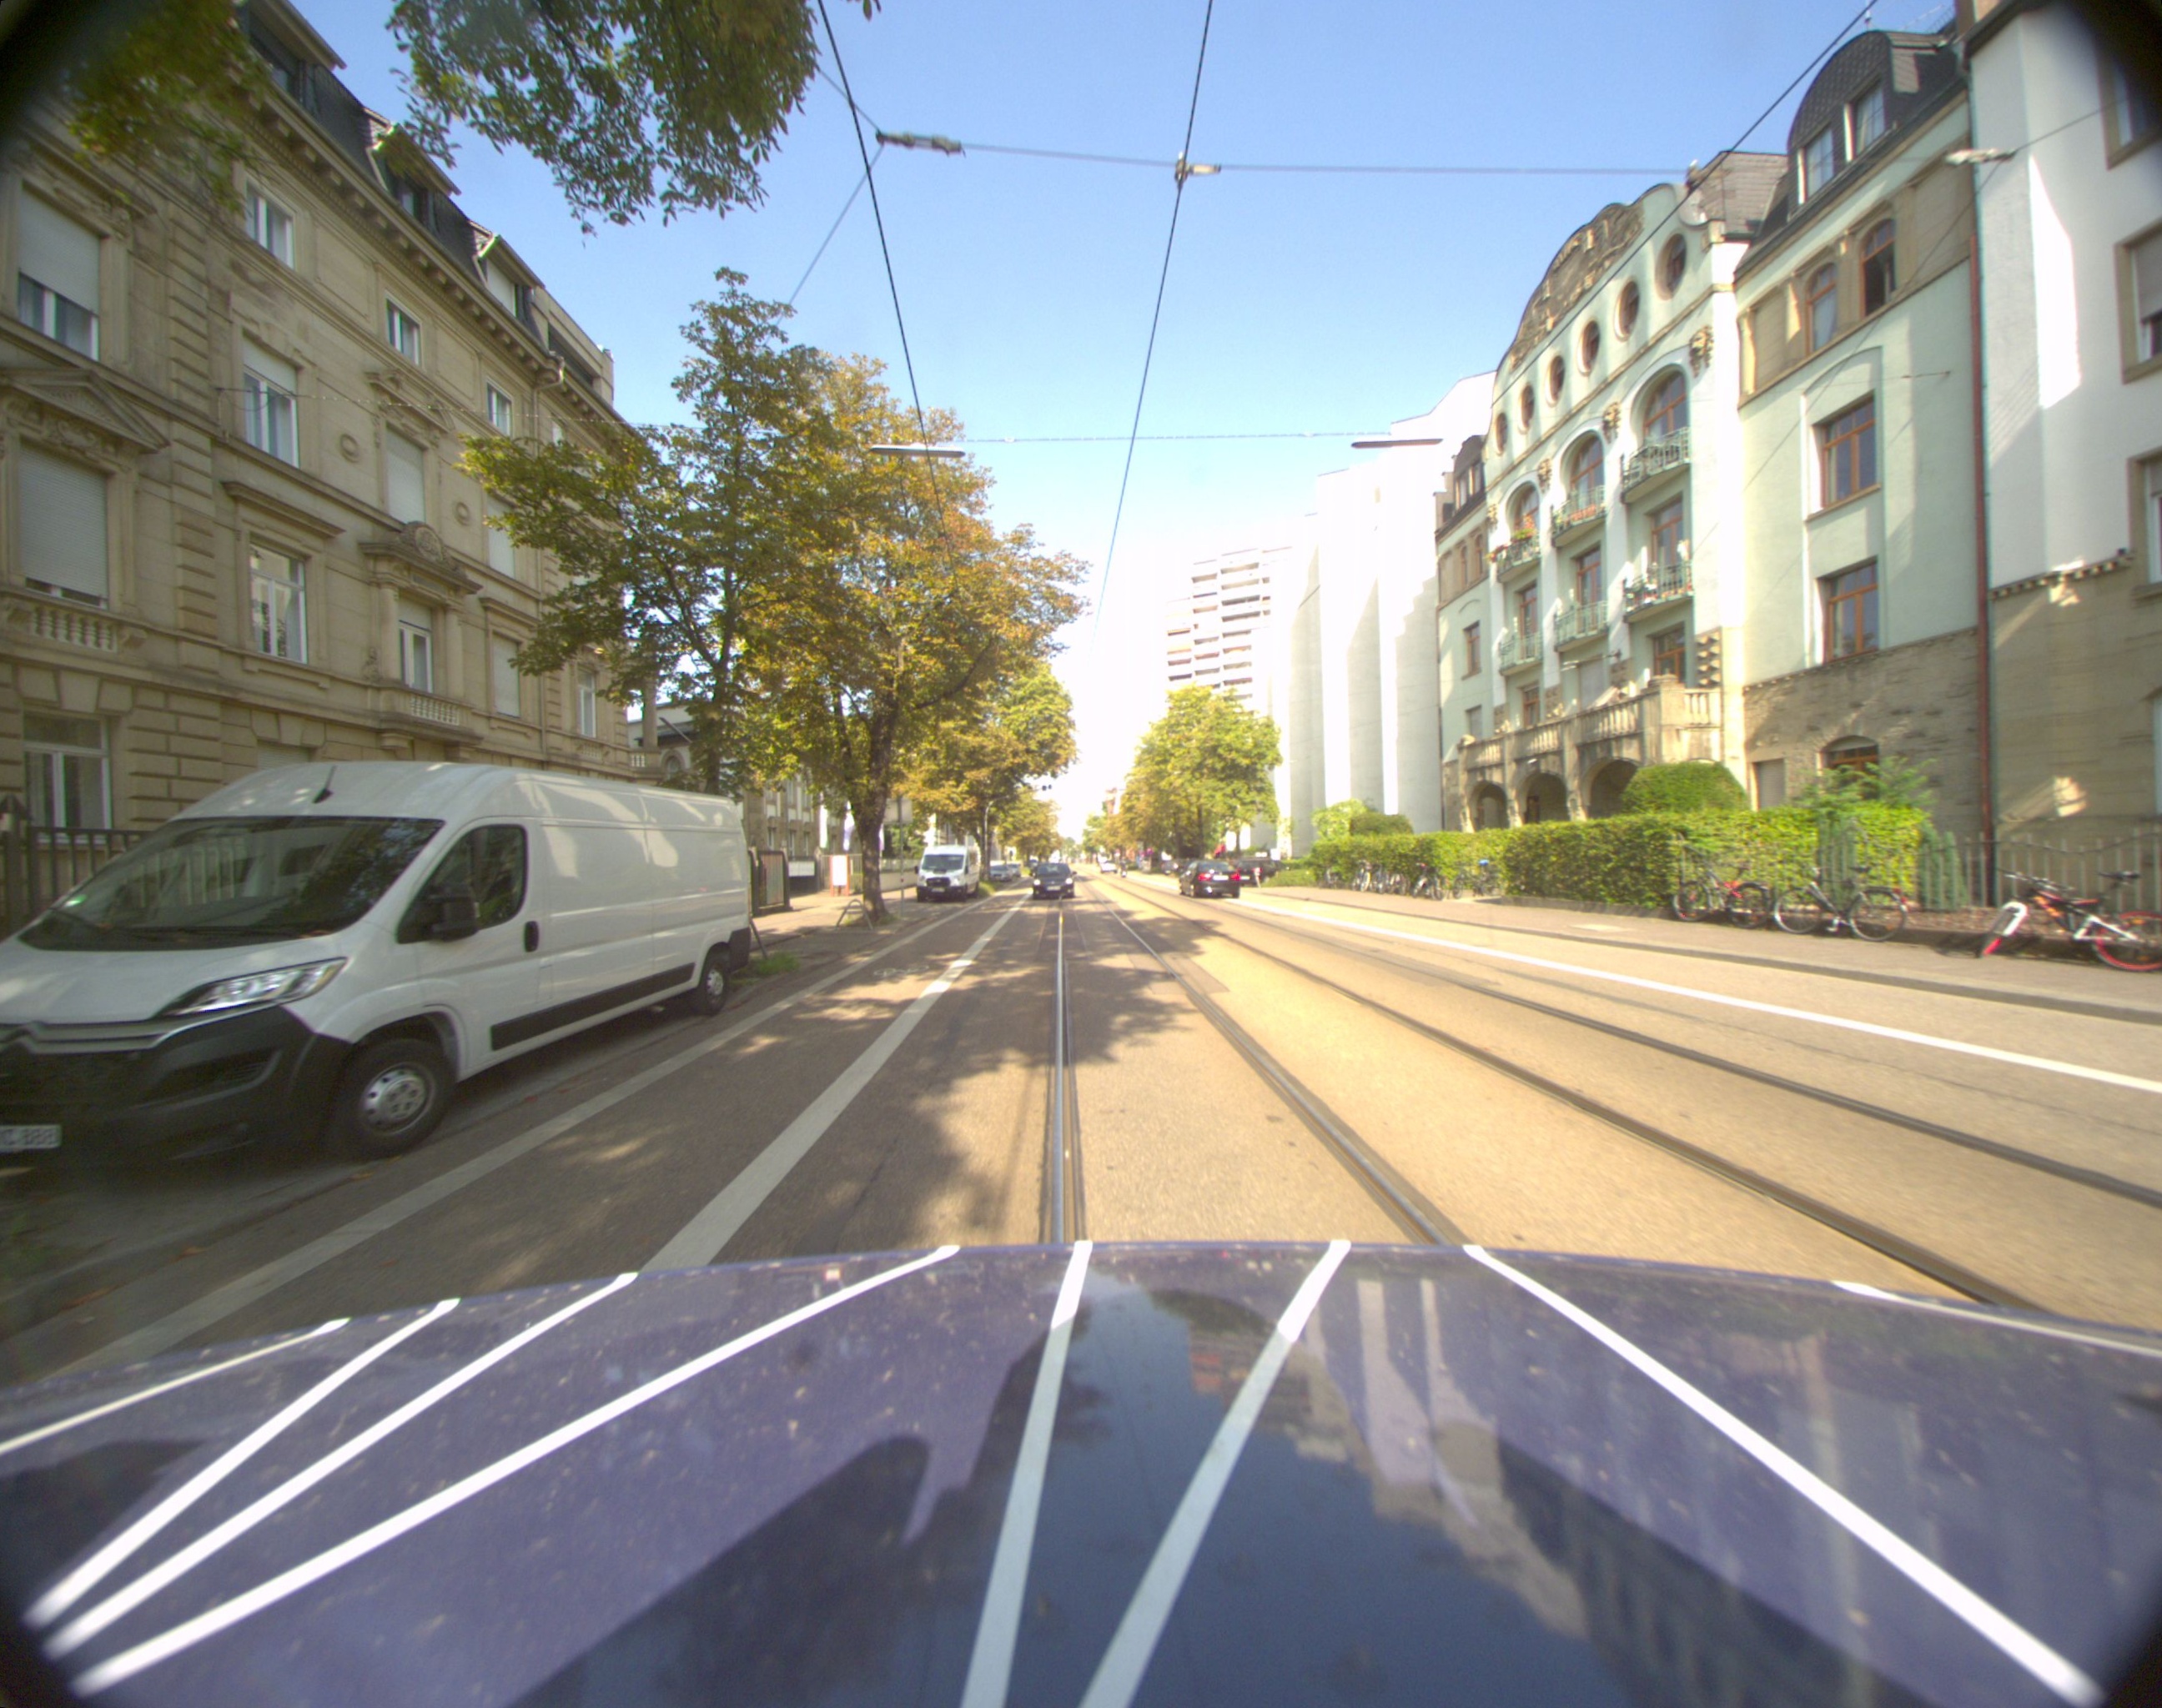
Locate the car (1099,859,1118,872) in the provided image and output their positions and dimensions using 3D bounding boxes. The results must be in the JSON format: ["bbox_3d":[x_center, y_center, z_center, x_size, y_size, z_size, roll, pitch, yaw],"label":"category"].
[{"bbox_3d":[2.912,1.224,81.271,1.757,1.349,3.787,-1,0,-2],"label":"car"}]

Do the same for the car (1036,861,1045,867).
[{"bbox_3d":[-8.416,2.100,159.528,1.757,1.349,3.787,-1,0,-2],"label":"car"}]

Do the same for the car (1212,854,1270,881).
[{"bbox_3d":[9.788,0.816,46.258,1.767,1.518,4.008,-1,0,40],"label":"car"}]

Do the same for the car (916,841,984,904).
[{"bbox_3d":[-5.624,0.759,33.328,1.999,2.526,5.867,0,0,-1],"label":"car"}]

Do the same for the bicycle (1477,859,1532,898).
[{"bbox_3d":[12.216,0.698,21.913,1.354,1.081,0.426,-1,0,-3],"label":"bicycle"}]

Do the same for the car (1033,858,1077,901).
[{"bbox_3d":[-1.057,0.993,31.316,1.611,1.515,4.356,-3,0,-1],"label":"car"}]

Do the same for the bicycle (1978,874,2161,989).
[{"bbox_3d":[10.528,0.771,8.067,0.371,1.081,1.355,-1,0,-2],"label":"bicycle"}]

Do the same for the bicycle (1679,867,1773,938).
[{"bbox_3d":[10.655,0.778,12.600,0.371,1.081,1.355,-1,0,-2],"label":"bicycle"}]

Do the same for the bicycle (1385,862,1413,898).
[{"bbox_3d":[10.320,0.823,24.706,0.425,1.081,1.677,-1,0,8],"label":"bicycle"}]

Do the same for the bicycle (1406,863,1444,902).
[{"bbox_3d":[10.213,0.837,22.607,0.425,1.081,1.677,-1,0,3],"label":"bicycle"}]

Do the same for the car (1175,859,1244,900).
[{"bbox_3d":[4.854,0.909,29.296,1.701,1.395,4.645,0,0,-2],"label":"car"}]

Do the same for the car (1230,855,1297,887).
[{"bbox_3d":[9.576,0.848,39.622,1.767,1.518,4.008,-1,0,40],"label":"car"}]

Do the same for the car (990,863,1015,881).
[{"bbox_3d":[-6.312,1.419,61.671,1.757,1.349,3.787,-1,0,-2],"label":"car"}]

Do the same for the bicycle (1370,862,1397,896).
[{"bbox_3d":[10.152,0.817,25.512,0.425,1.081,1.677,-1,0,8],"label":"bicycle"}]

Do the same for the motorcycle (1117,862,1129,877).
[{"bbox_3d":[3.425,1.252,62.105,0.816,1.235,2.201,-1,0,1],"label":"motorcycle"}]

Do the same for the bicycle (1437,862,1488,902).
[{"bbox_3d":[10.853,0.789,21.614,1.397,1.081,0.425,-1,0,-19],"label":"bicycle"}]

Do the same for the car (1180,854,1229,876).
[{"bbox_3d":[9.198,0.826,56.566,1.767,1.518,4.008,-1,0,40],"label":"car"}]

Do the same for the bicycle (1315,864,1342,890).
[{"bbox_3d":[10.048,0.918,30.855,0.425,0.972,1.770,-1,0,-2],"label":"bicycle"}]

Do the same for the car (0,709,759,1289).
[{"bbox_3d":[-5.012,0.638,6.358,2.051,2.484,6.228,-1,0,-1],"label":"car"}]

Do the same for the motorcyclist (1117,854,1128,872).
[{"bbox_3d":[3.413,0.734,62.112,0.816,1.445,0.888,-1,0,1],"label":"motorcyclist"}]

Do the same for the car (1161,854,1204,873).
[{"bbox_3d":[8.774,0.815,65.409,1.767,1.518,4.008,-1,0,40],"label":"car"}]

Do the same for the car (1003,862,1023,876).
[{"bbox_3d":[-6.683,1.465,75.261,1.757,1.349,3.787,-1,0,-2],"label":"car"}]

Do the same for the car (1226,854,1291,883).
[{"bbox_3d":[10.193,0.799,43.423,1.767,1.518,4.008,-1,0,45],"label":"car"}]

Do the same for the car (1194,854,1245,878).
[{"bbox_3d":[9.827,0.832,53.725,1.767,1.518,4.008,-1,0,40],"label":"car"}]

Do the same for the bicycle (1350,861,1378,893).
[{"bbox_3d":[10.233,0.814,27.525,0.425,1.081,1.676,-1,0,1],"label":"bicycle"}]

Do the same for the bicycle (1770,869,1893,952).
[{"bbox_3d":[10.640,0.767,10.829,0.371,1.081,1.355,-1,0,-2],"label":"bicycle"}]
